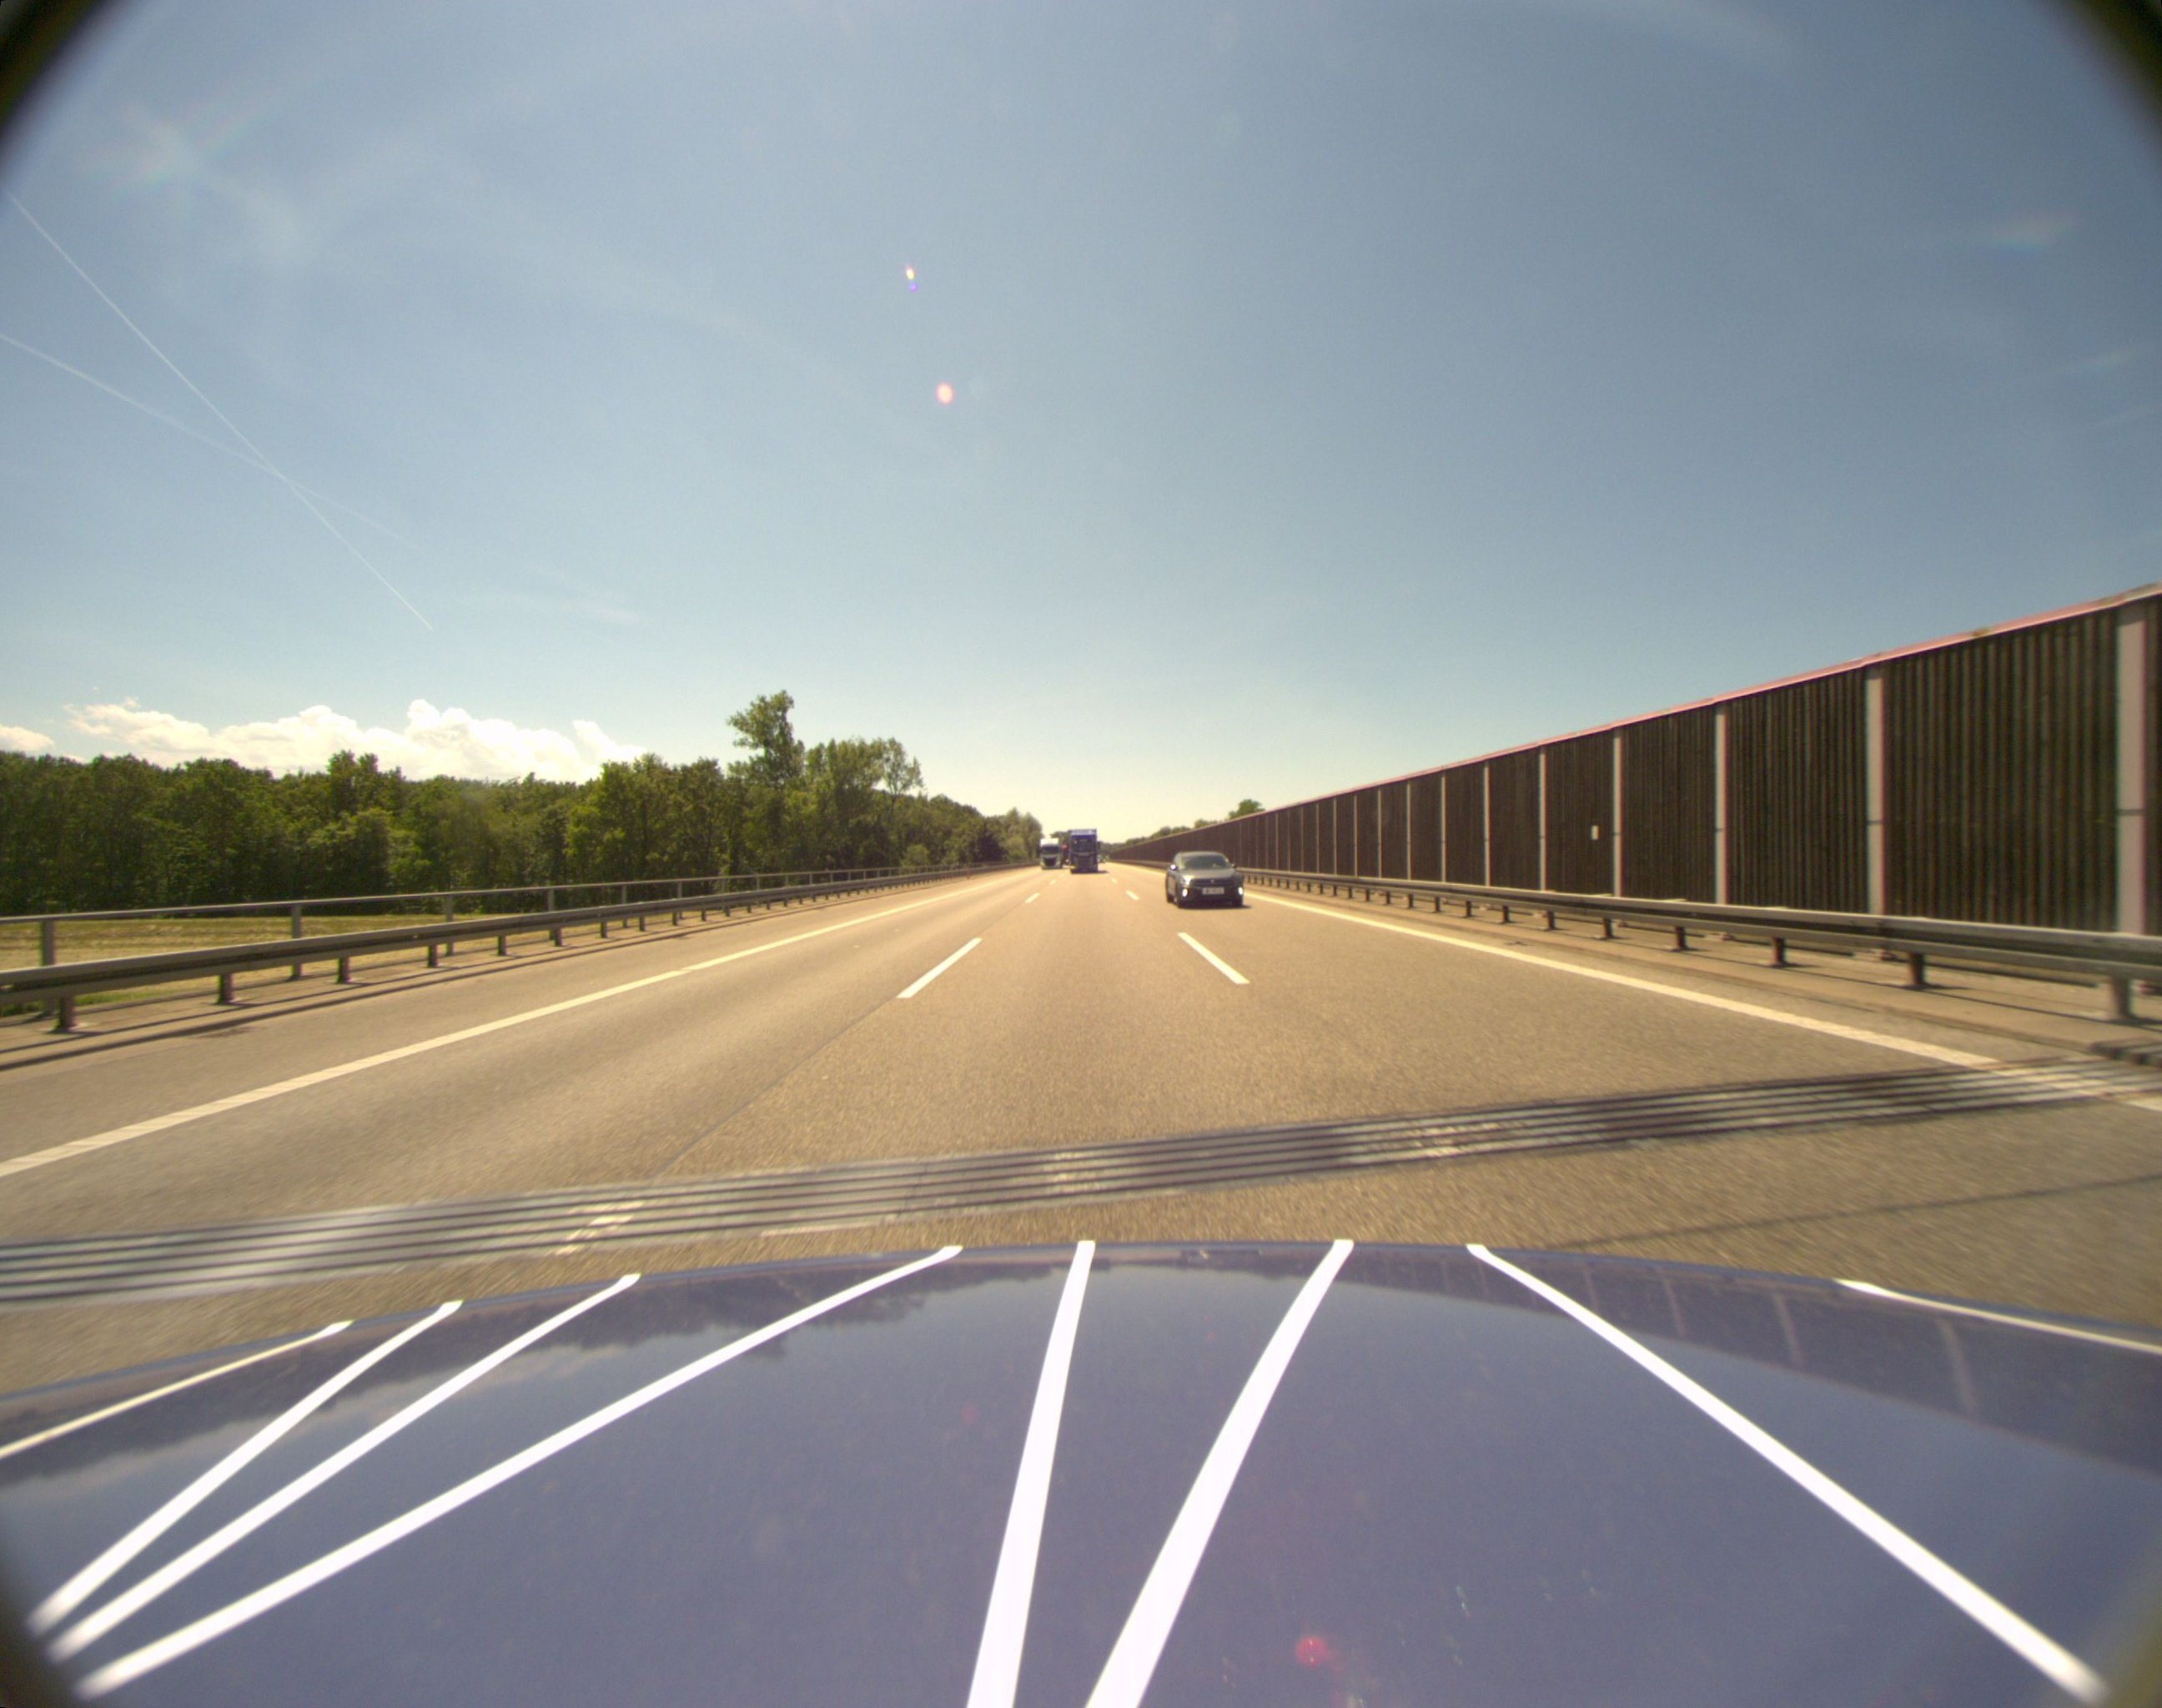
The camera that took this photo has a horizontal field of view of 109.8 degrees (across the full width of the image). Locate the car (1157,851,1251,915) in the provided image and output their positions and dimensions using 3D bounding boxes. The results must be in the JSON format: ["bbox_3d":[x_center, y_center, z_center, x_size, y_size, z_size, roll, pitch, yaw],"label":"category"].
[{"bbox_3d":[3.506,0.793,22.519,1.885,1.630,5.009,-1,-1,-1],"label":"car"}]

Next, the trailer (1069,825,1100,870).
[{"bbox_3d":[0.375,-0.541,76.725,2.707,4.093,12.132,-2,0,0],"label":"trailer"}]

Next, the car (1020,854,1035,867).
[{"bbox_3d":[-7.680,0.882,110.141,1.935,1.805,4.000,-2,0,-1],"label":"car"}]

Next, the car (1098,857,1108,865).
[{"bbox_3d":[4.950,1.561,171.876,2.045,1.559,4.000,-2,0,1],"label":"car"}]

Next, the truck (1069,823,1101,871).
[{"bbox_3d":[0.337,-0.572,69.761,2.707,4.093,6.991,-2,0,0],"label":"truck"}]

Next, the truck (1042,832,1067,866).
[{"bbox_3d":[-3.501,-0.606,101.734,2.820,4.139,10.448,-2,0,0],"label":"truck"}]
